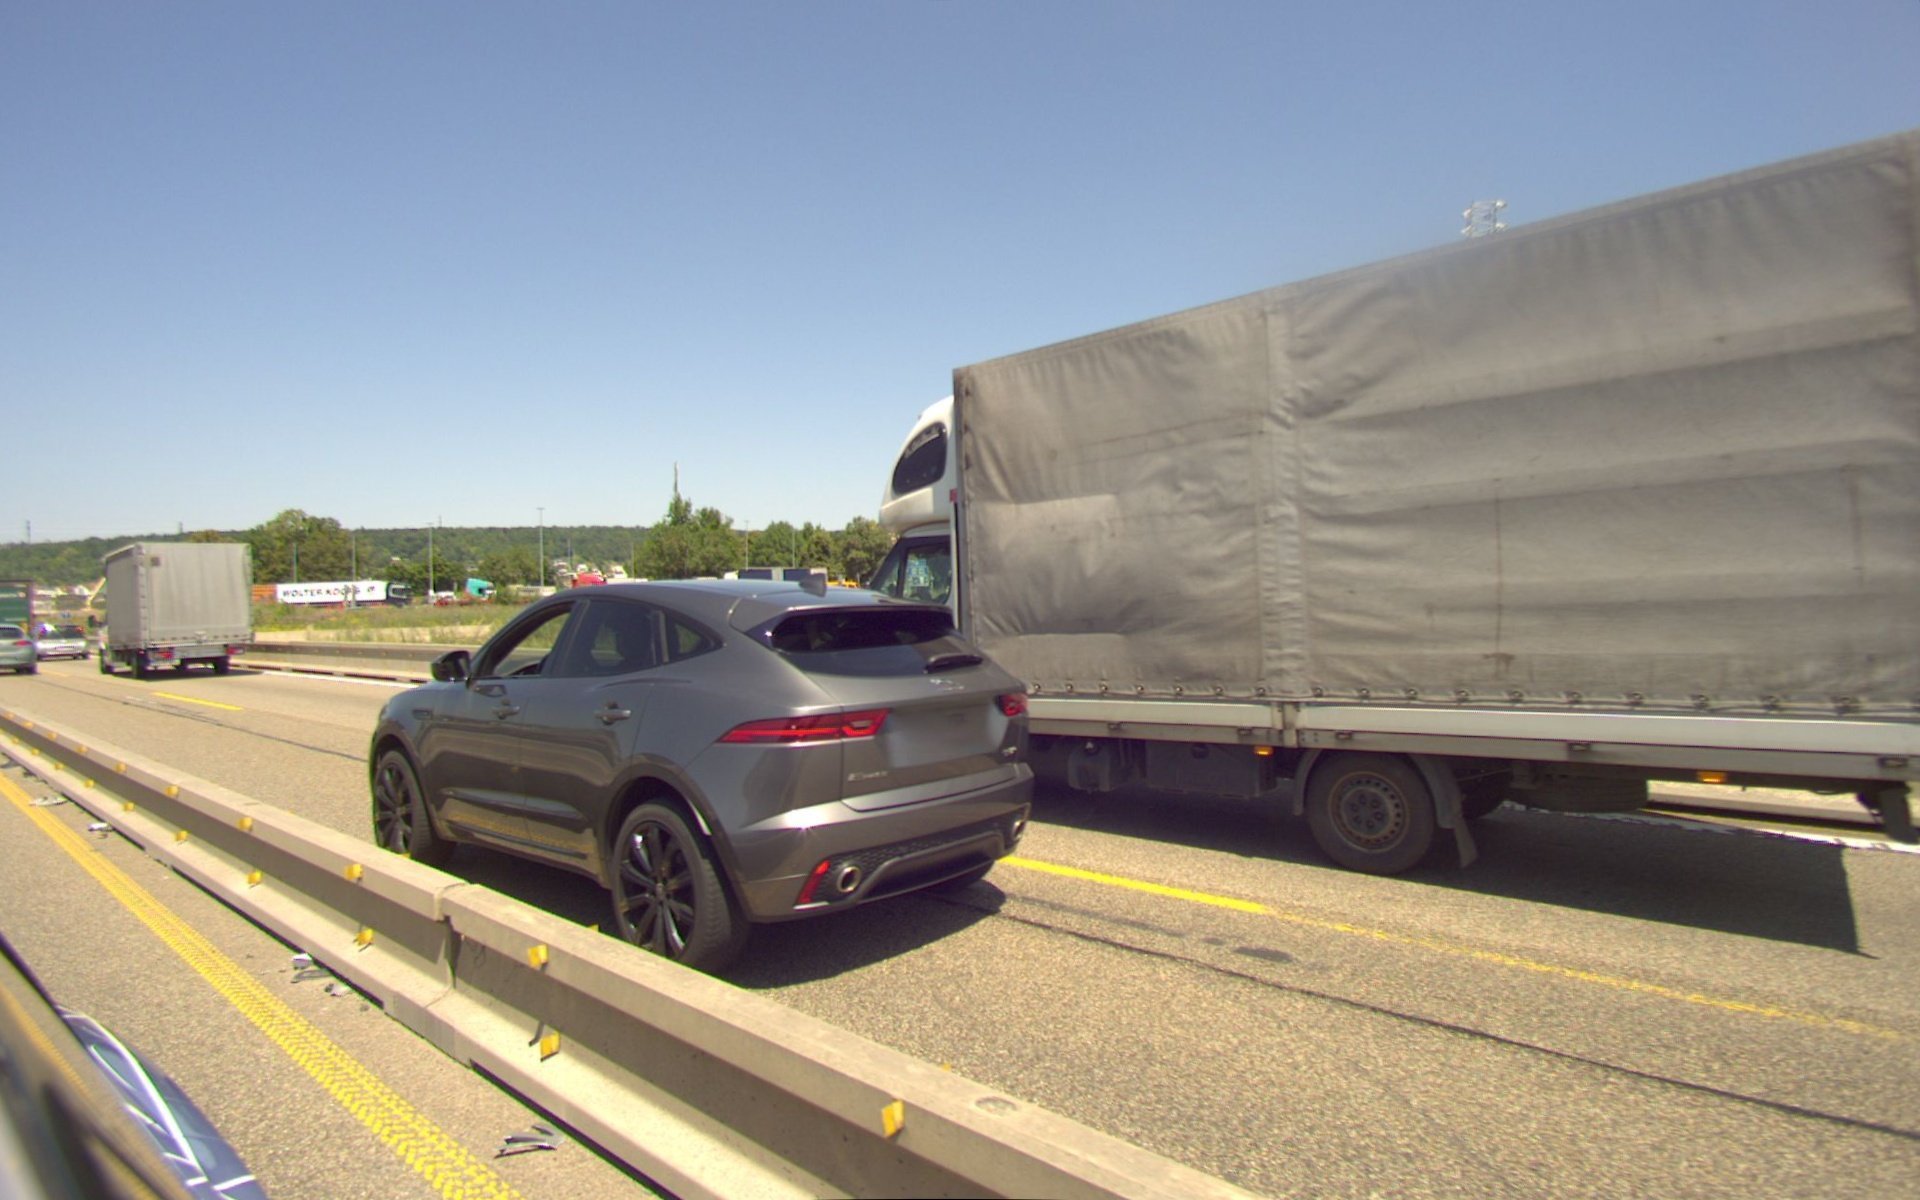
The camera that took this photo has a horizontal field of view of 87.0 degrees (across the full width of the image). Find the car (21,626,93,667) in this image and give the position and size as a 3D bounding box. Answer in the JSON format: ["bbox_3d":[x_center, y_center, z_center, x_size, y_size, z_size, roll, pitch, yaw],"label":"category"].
[{"bbox_3d":[-36.032,1.828,40.366,3.783,1.459,1.606,-2,0,40],"label":"car"}]

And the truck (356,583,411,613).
[{"bbox_3d":[-77.432,-0.310,135.954,5.648,3.644,2.585,-4,2,-8],"label":"truck"}]

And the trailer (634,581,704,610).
[{"bbox_3d":[-31.326,-0.428,108.679,9.385,2.788,2.232,-2,1,39],"label":"trailer"}]

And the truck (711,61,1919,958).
[{"bbox_3d":[1.732,-0.251,6.971,8.112,3.317,2.469,-2,-1,41],"label":"truck"}]

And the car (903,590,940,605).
[{"bbox_3d":[-4.861,-0.295,128.163,4.359,1.847,1.739,-1,0,6],"label":"car"}]

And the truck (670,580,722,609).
[{"bbox_3d":[-27.555,-0.542,105.601,5.625,2.788,2.247,-2,1,39],"label":"truck"}]

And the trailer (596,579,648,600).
[{"bbox_3d":[-59.505,-1.875,177.826,11.695,3.405,2.915,-2,0,40],"label":"trailer"}]

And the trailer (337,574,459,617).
[{"bbox_3d":[-65.789,-0.563,118.689,12.193,4.197,2.863,-4,2,-4],"label":"trailer"}]

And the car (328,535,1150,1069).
[{"bbox_3d":[-1.546,0.674,5.476,4.743,1.671,1.922,-1,-1,41],"label":"car"}]

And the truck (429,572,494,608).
[{"bbox_3d":[-58.636,-1.210,119.177,6.054,3.777,2.837,-4,2,-4],"label":"truck"}]

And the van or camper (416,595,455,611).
[{"bbox_3d":[-93.342,0.542,180.033,8.584,2.754,2.728,-2,0,38],"label":"van or camper"}]

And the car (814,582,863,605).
[{"bbox_3d":[-13.281,-0.694,110.678,4.966,2.270,1.996,-2,0,7],"label":"car"}]

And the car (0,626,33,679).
[{"bbox_3d":[-28.080,1.490,29.075,4.199,1.439,1.664,-2,-1,41],"label":"car"}]

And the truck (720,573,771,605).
[{"bbox_3d":[-25.885,-1.297,121.918,5.957,3.649,2.835,-2,1,41],"label":"truck"}]

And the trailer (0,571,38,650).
[{"bbox_3d":[-56.677,0.706,58.973,13.847,4.230,2.975,-2,-1,42],"label":"trailer"}]

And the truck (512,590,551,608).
[{"bbox_3d":[-66.440,-0.141,156.895,7.776,2.624,2.515,-2,1,42],"label":"truck"}]

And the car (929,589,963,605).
[{"bbox_3d":[-1.748,-0.391,124.837,3.938,1.847,1.745,-1,0,-6],"label":"car"}]

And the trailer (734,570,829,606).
[{"bbox_3d":[-20.867,-1.365,117.479,13.427,3.649,2.991,-2,1,41],"label":"trailer"}]

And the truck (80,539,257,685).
[{"bbox_3d":[-21.278,0.334,27.027,7.712,3.410,2.364,-2,0,42],"label":"truck"}]

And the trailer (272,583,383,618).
[{"bbox_3d":[-84.451,0.052,135.322,12.561,3.812,2.624,-4,2,-4],"label":"trailer"}]

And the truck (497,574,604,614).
[{"bbox_3d":[-41.689,-0.554,103.191,9.940,3.806,2.002,1,-2,-5],"label":"truck"}]

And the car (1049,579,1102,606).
[{"bbox_3d":[9.318,-0.589,81.548,3.936,2.029,2.004,-3,1,-38],"label":"car"}]
